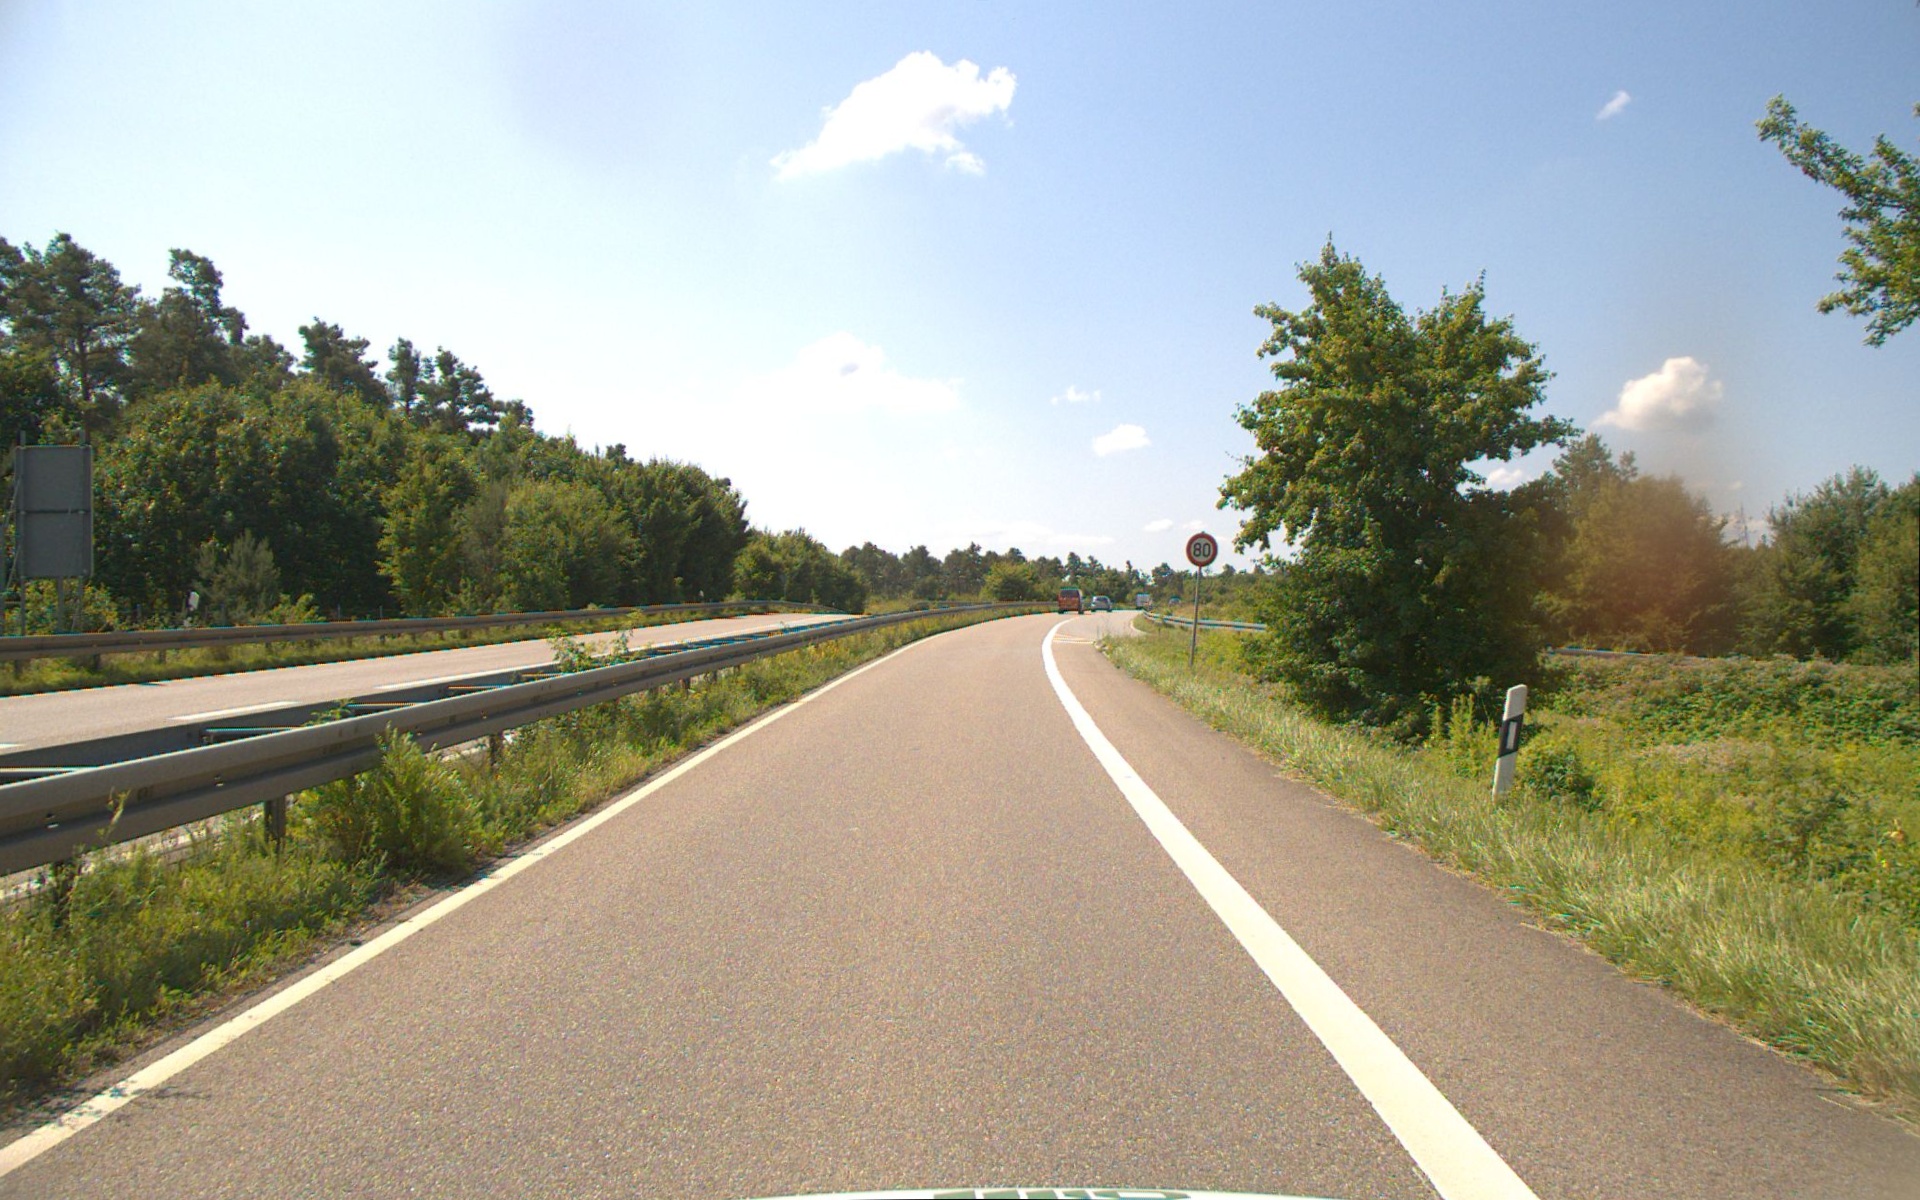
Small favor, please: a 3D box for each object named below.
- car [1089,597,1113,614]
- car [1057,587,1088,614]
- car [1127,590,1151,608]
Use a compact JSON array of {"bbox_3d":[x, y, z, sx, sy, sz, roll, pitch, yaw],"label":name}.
[{"bbox_3d":[13.209,0.531,155.104,1.964,1.520,4.242,1,-1,8],"label":"car"},{"bbox_3d":[8.984,0.066,132.040,2.033,2.028,5.115,1,-1,8],"label":"car"},{"bbox_3d":[22.240,-0.097,205.661,2.138,1.989,5.808,1,-1,14],"label":"car"}]
